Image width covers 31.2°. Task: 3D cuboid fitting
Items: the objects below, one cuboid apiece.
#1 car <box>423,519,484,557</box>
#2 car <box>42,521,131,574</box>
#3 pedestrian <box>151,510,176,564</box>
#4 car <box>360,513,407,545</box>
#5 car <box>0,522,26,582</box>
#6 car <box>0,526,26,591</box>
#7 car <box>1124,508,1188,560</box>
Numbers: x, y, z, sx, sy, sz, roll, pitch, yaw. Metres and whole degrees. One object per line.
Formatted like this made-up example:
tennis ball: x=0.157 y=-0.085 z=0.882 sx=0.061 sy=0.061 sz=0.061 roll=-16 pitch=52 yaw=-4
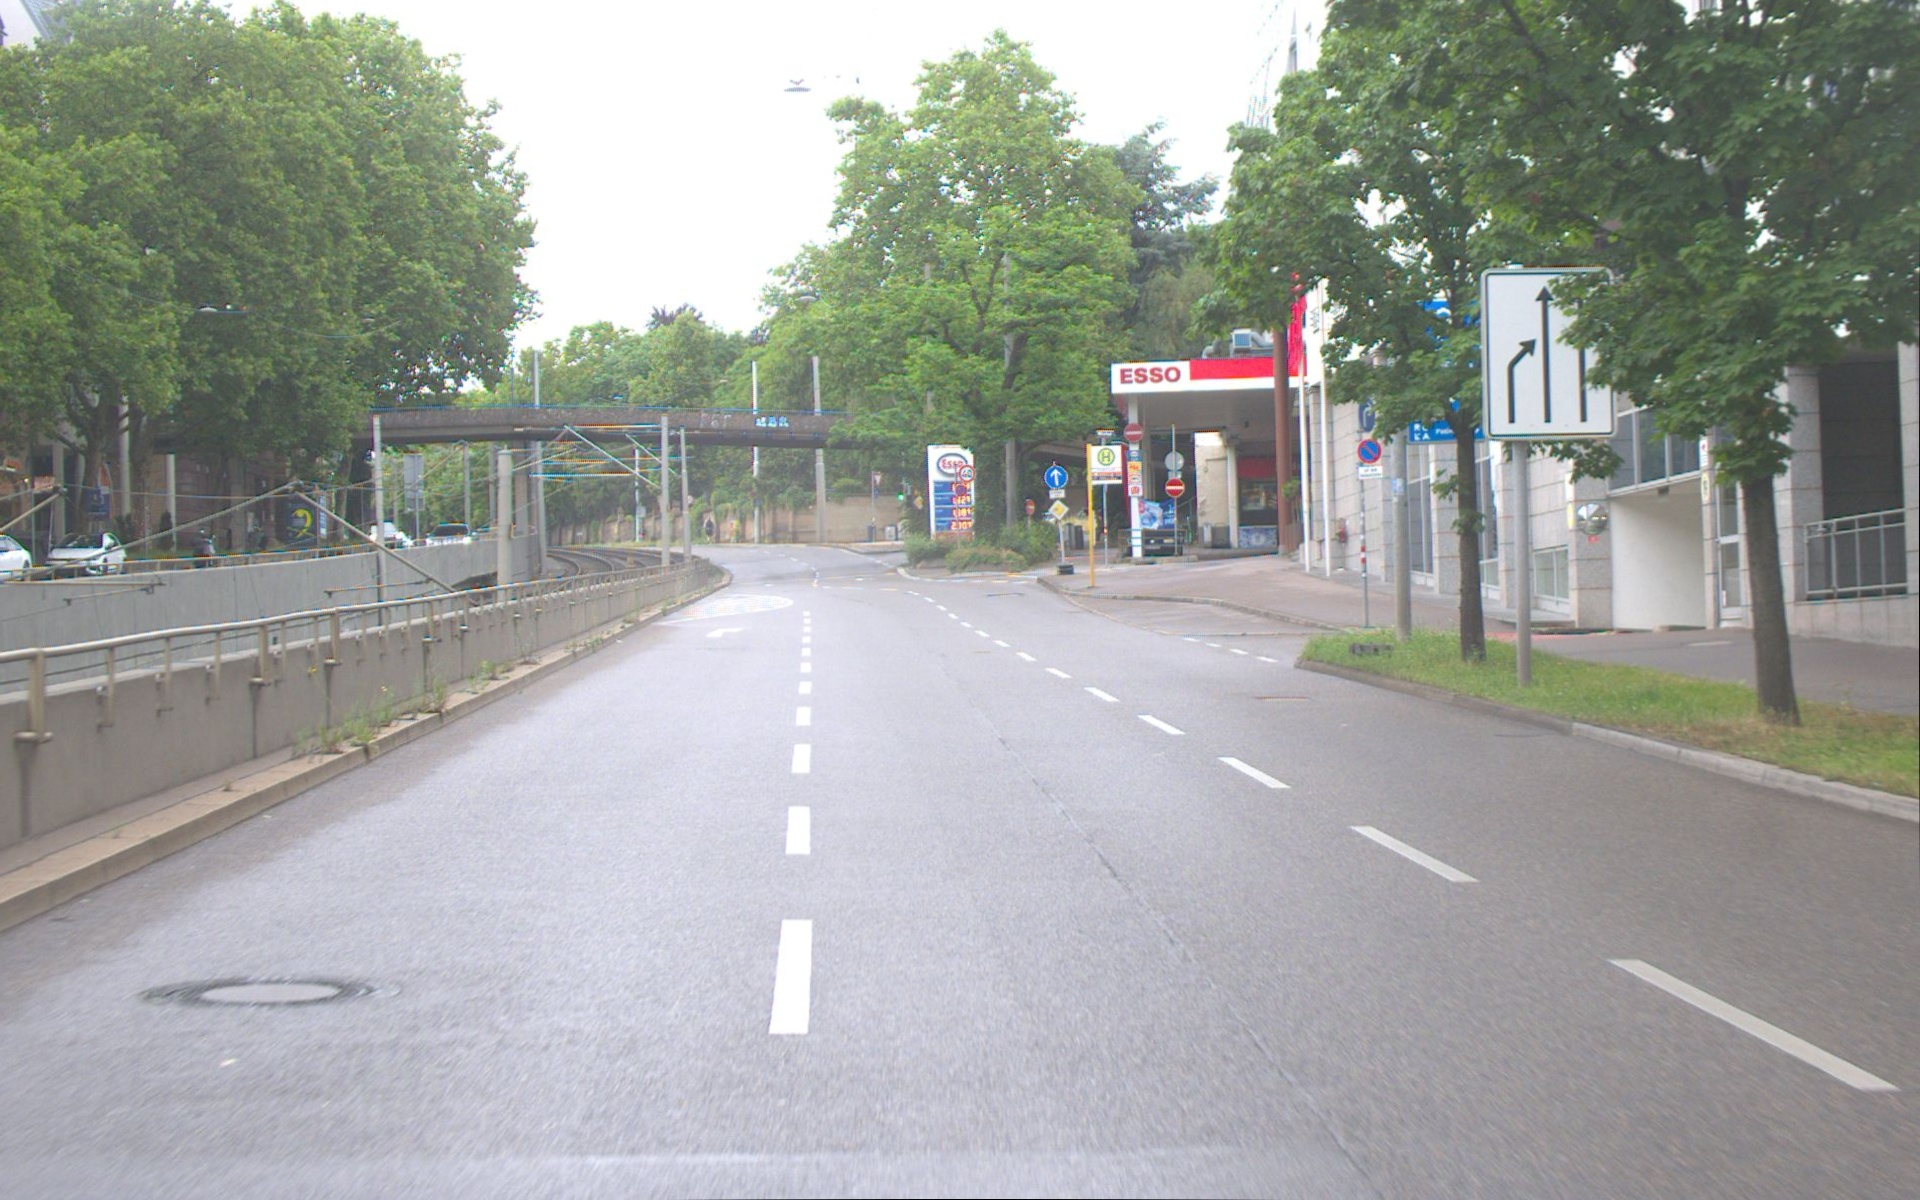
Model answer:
car: x=-20.869 y=-2.578 z=141.866 sx=2.026 sy=1.505 sz=4.883 roll=0 pitch=1 yaw=-3
car: x=-26.953 y=-1.633 z=106.227 sx=1.794 sy=1.606 sz=4.112 roll=0 pitch=1 yaw=-1
pedestrian: x=-29.735 y=-2.340 z=128.296 sx=0.669 sy=2.007 sz=0.935 roll=1 pitch=0 yaw=1
car: x=-33.917 y=-4.206 z=202.344 sx=1.956 sy=1.846 sz=4.968 roll=0 pitch=1 yaw=0
car: x=-27.036 y=-1.309 z=93.537 sx=1.927 sy=1.595 sz=5.200 roll=0 pitch=1 yaw=-1
car: x=-23.388 y=-0.965 z=80.519 sx=1.846 sy=1.505 sz=4.017 roll=0 pitch=1 yaw=2
car: x=6.504 y=-2.179 z=113.840 sx=1.773 sy=1.618 sz=3.865 roll=-3 pitch=1 yaw=7
